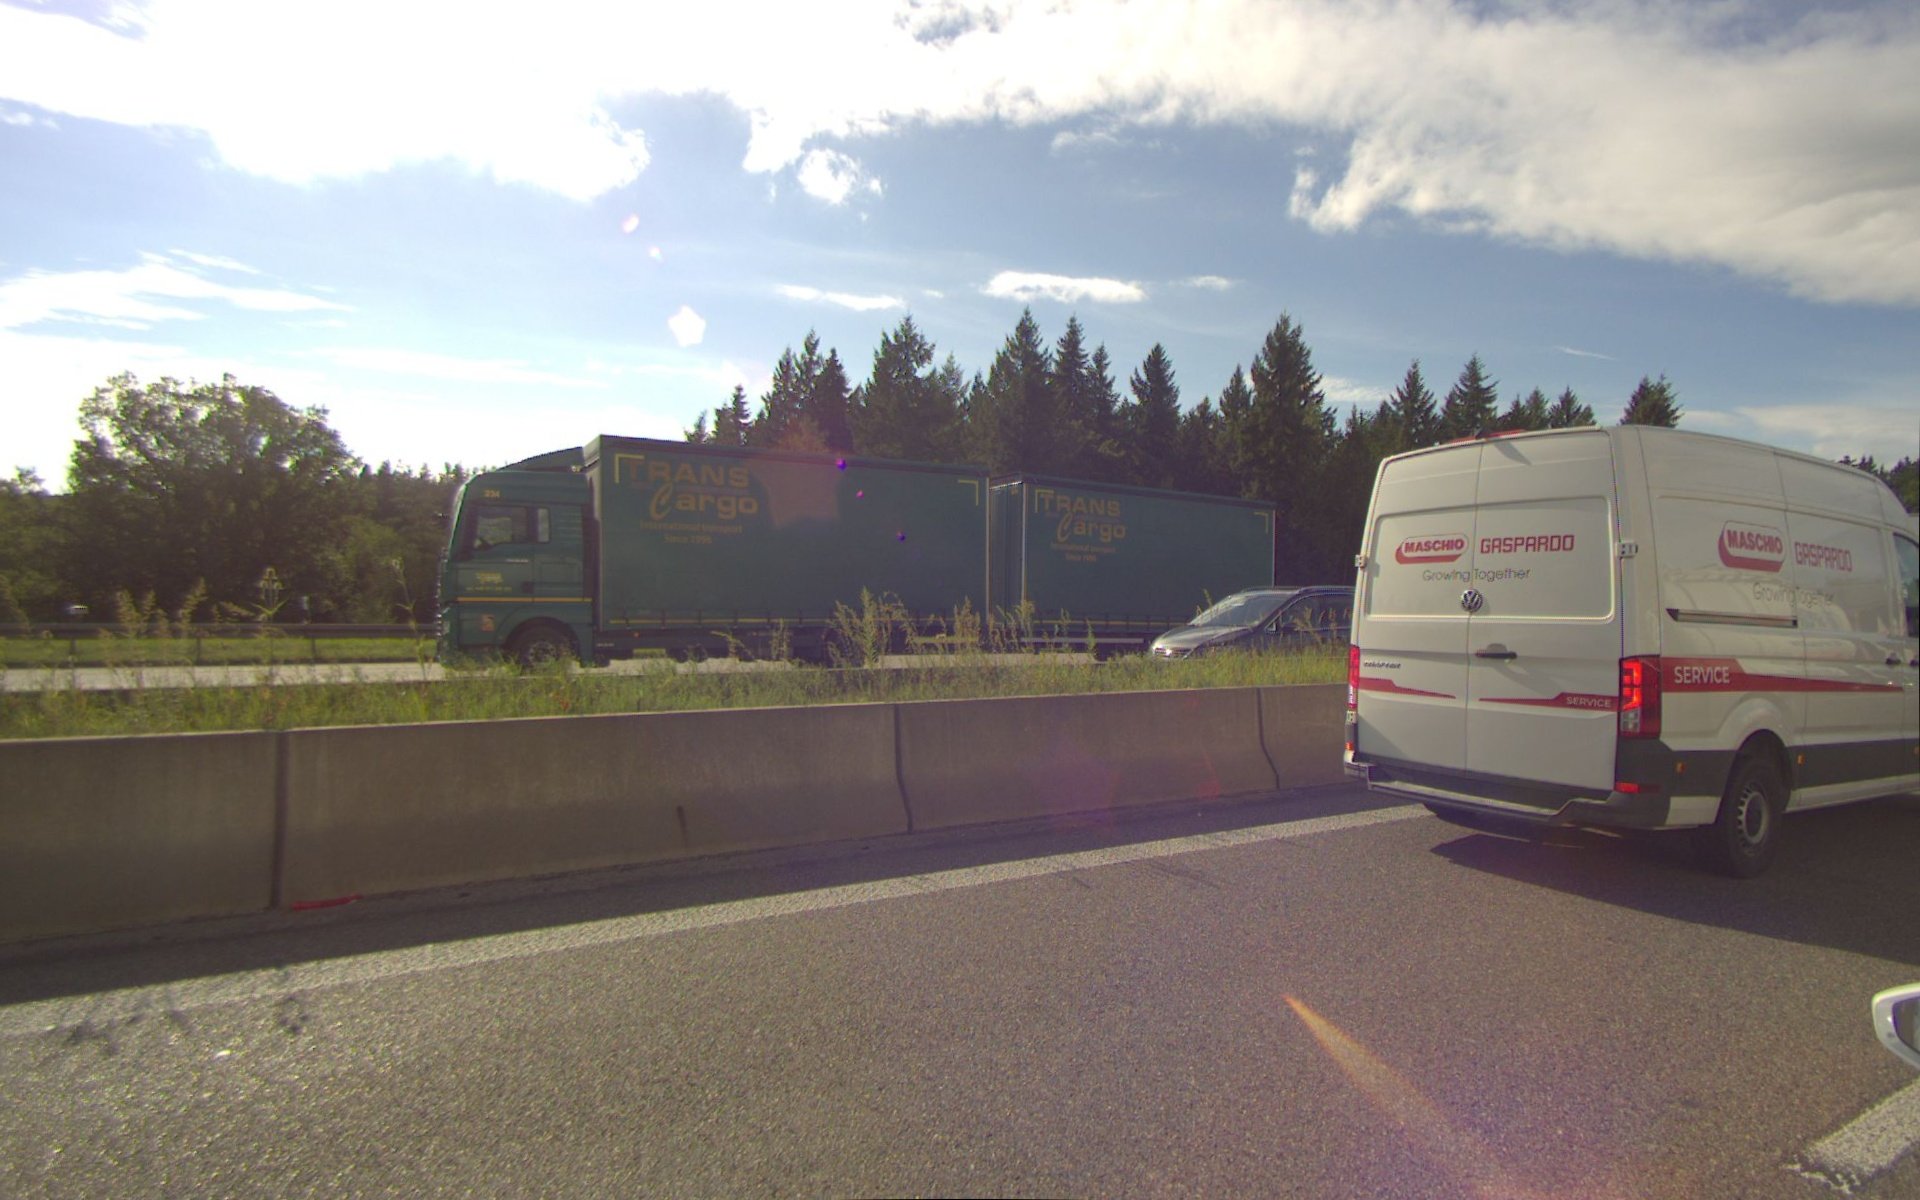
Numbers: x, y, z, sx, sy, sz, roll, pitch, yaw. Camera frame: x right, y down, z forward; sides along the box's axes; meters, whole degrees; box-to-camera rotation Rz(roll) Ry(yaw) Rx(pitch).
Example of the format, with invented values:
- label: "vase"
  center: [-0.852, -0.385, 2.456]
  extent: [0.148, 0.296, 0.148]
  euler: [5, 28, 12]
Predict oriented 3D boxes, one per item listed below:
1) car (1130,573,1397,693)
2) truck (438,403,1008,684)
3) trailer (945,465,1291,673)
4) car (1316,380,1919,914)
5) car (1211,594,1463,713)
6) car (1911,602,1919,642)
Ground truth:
- label: "car"
  center: [4.729, 0.478, 15.541]
  extent: [3.954, 1.603, 1.661]
  euler: [1, 2, -31]
- label: "truck"
  center: [-4.082, -0.744, 19.155]
  extent: [10.227, 4.300, 2.697]
  euler: [1, -1, -32]
- label: "trailer"
  center: [3.970, -0.542, 24.108]
  extent: [8.455, 4.300, 2.711]
  euler: [1, -1, -32]
- label: "car"
  center: [5.518, 0.294, 7.361]
  extent: [6.108, 2.633, 2.006]
  euler: [1, -1, -30]
- label: "car"
  center: [6.062, 0.792, 16.106]
  extent: [3.764, 1.706, 1.820]
  euler: [1, 0, -30]
- label: "car"
  center: [53.233, 1.221, 53.722]
  extent: [5.025, 2.085, 2.228]
  euler: [1, 0, -31]
